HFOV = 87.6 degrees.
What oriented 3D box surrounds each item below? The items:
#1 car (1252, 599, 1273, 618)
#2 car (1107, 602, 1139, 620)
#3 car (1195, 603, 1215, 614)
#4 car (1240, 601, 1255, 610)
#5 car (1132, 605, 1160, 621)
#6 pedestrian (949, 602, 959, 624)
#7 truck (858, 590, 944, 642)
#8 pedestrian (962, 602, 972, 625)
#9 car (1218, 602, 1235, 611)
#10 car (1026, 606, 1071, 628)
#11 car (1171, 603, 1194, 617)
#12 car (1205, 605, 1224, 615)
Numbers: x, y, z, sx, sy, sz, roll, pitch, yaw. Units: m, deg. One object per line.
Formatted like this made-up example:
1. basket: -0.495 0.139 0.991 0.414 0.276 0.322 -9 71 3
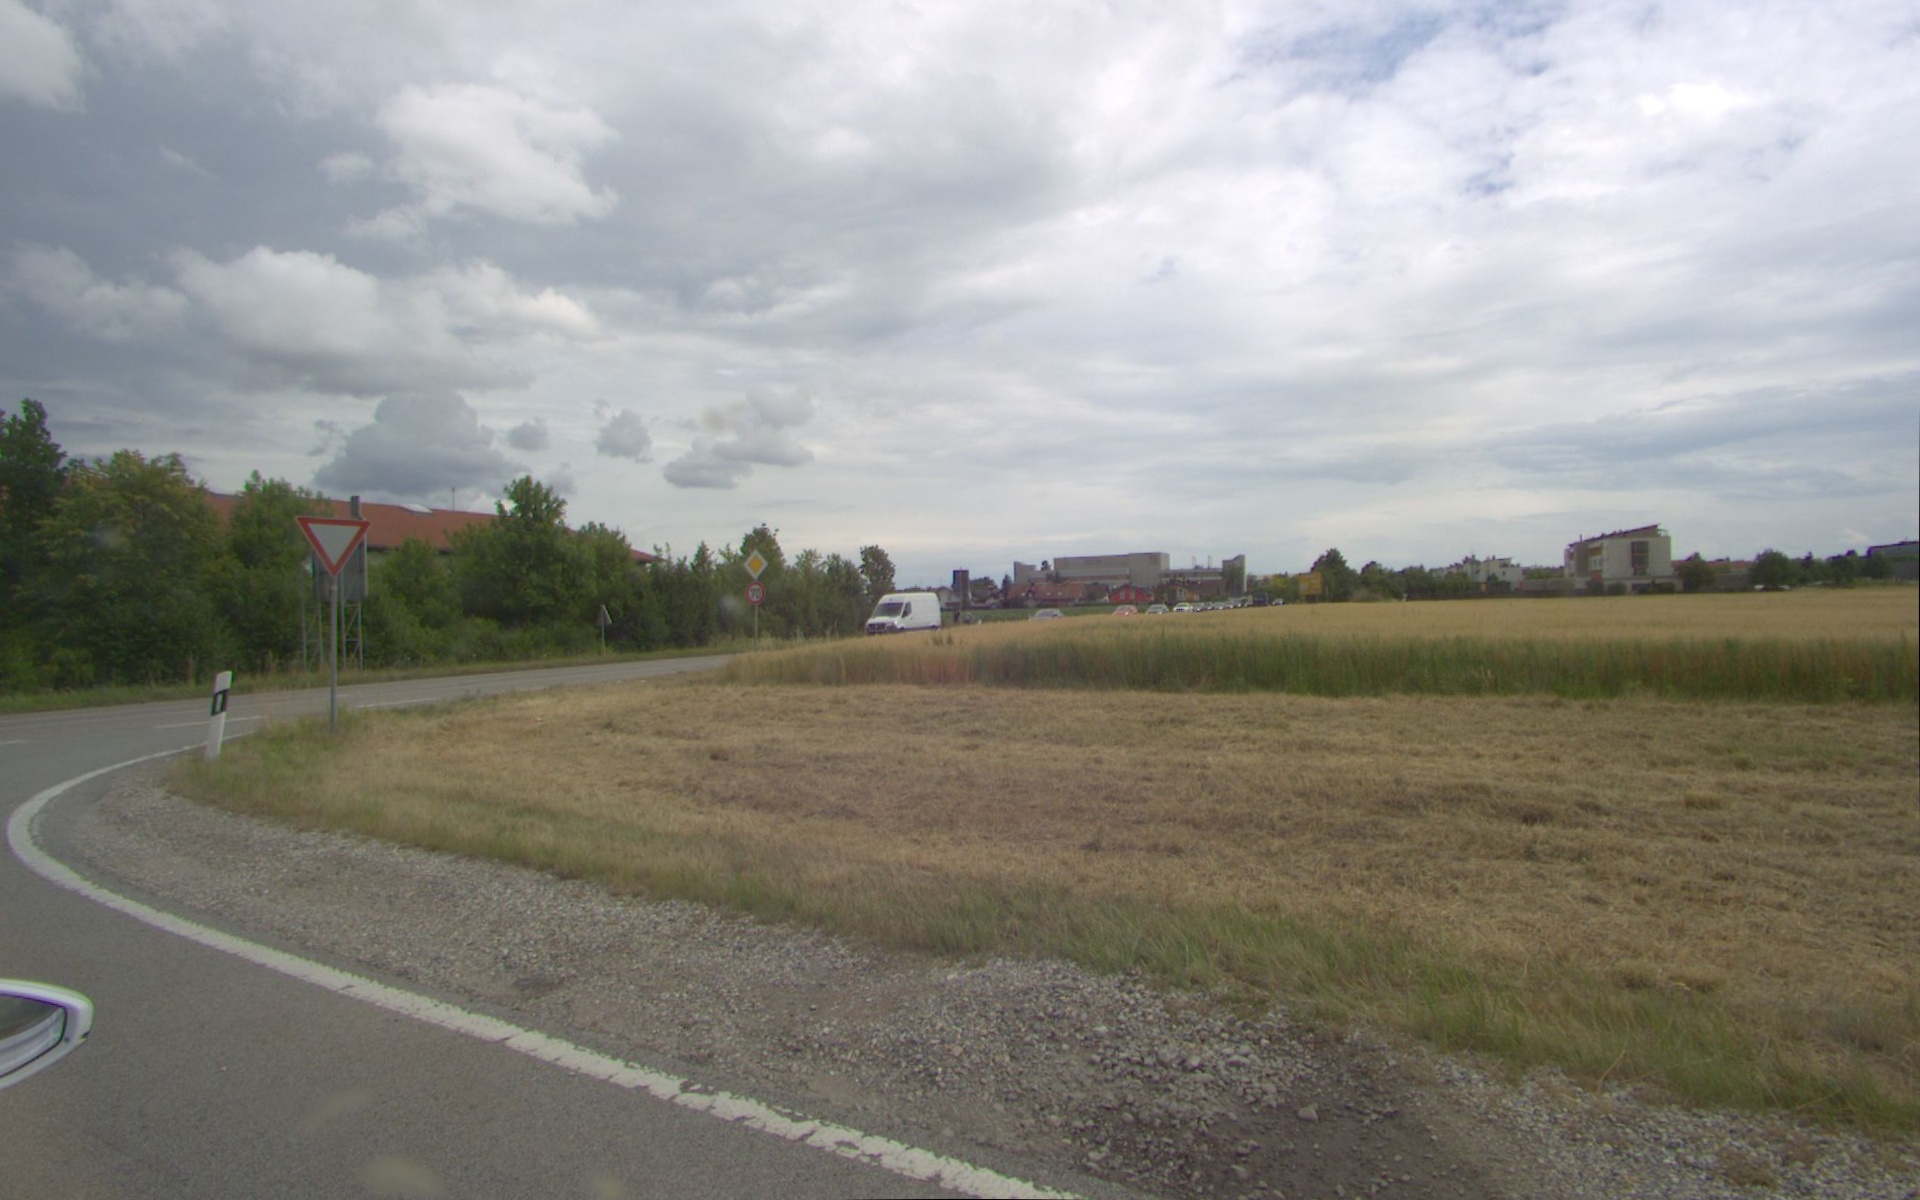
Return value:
1. car: 44.455 1.244 147.069 2.115 2.675 5.549 0 1 26
2. car: 15.065 0.994 92.438 1.826 1.486 3.986 -1 0 25
3. car: 31.411 1.105 128.439 1.826 1.287 3.518 -1 0 24
4. car: 46.250 0.868 161.159 1.826 1.287 3.518 -1 0 24
5. car: 18.927 1.276 101.649 1.826 1.486 3.986 -1 0 25
6. pedestrian: -0.451 1.019 76.999 0.521 1.705 0.626 0 2 20
7. truck: -3.107 0.815 54.235 1.968 2.609 5.996 -2 -1 25
8. pedestrian: 0.533 1.017 76.575 0.521 1.705 0.626 0 2 20
9. car: 38.131 0.906 143.275 1.826 1.287 3.518 -1 0 24
10. car: 6.517 1.250 73.602 1.968 1.483 4.147 -2 0 25
11. car: 25.664 1.120 115.423 1.826 1.486 3.987 -1 0 24
12. car: 34.342 1.367 135.131 1.826 1.287 3.518 -1 0 24
